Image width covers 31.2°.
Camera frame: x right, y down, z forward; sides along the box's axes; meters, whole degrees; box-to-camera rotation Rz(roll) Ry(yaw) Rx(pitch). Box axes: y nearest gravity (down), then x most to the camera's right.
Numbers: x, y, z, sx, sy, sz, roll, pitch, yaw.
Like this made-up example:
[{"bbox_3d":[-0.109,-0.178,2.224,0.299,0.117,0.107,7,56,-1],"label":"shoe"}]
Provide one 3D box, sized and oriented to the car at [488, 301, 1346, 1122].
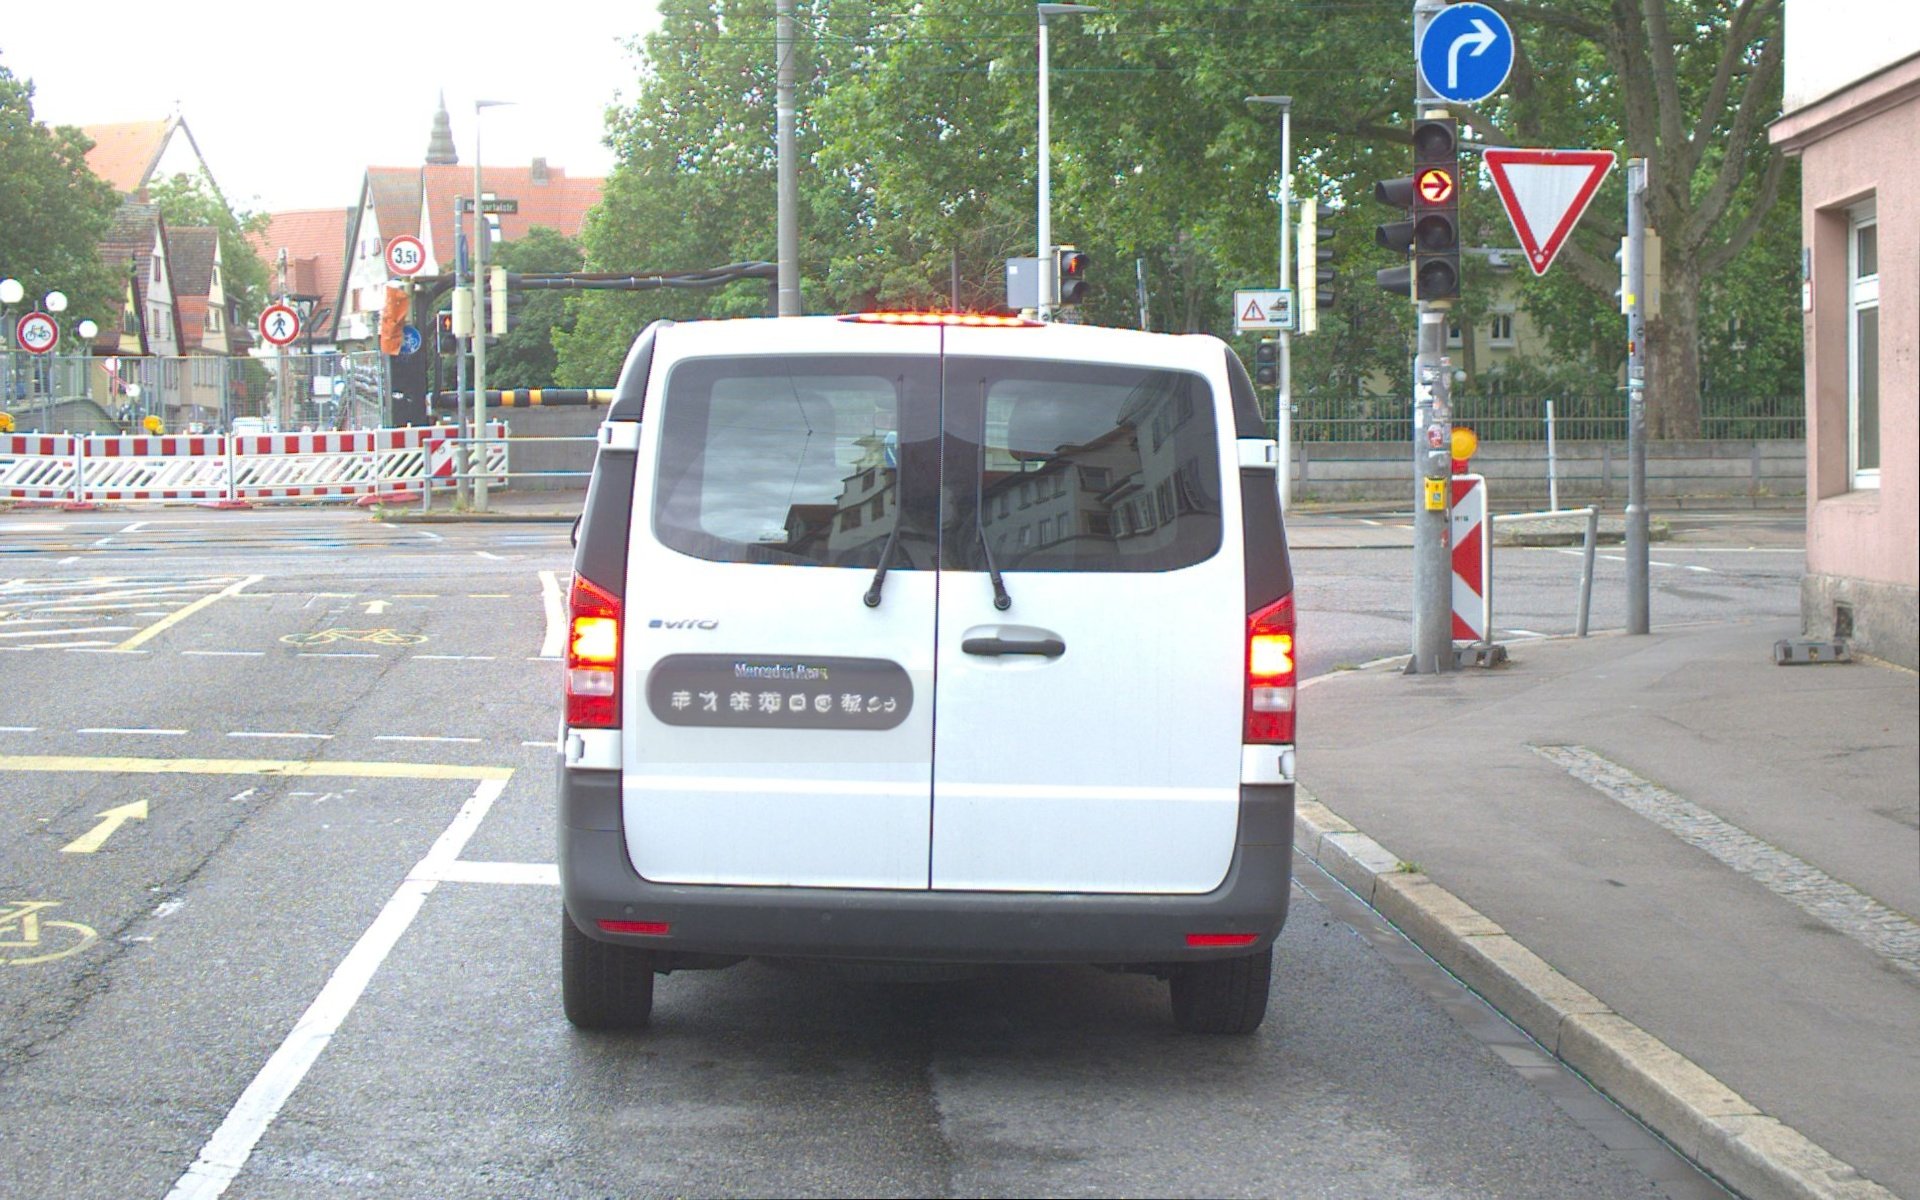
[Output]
[{"bbox_3d":[-0.274,0.132,10.186,1.993,1.916,4.250,0,4,-5],"label":"car"}]
